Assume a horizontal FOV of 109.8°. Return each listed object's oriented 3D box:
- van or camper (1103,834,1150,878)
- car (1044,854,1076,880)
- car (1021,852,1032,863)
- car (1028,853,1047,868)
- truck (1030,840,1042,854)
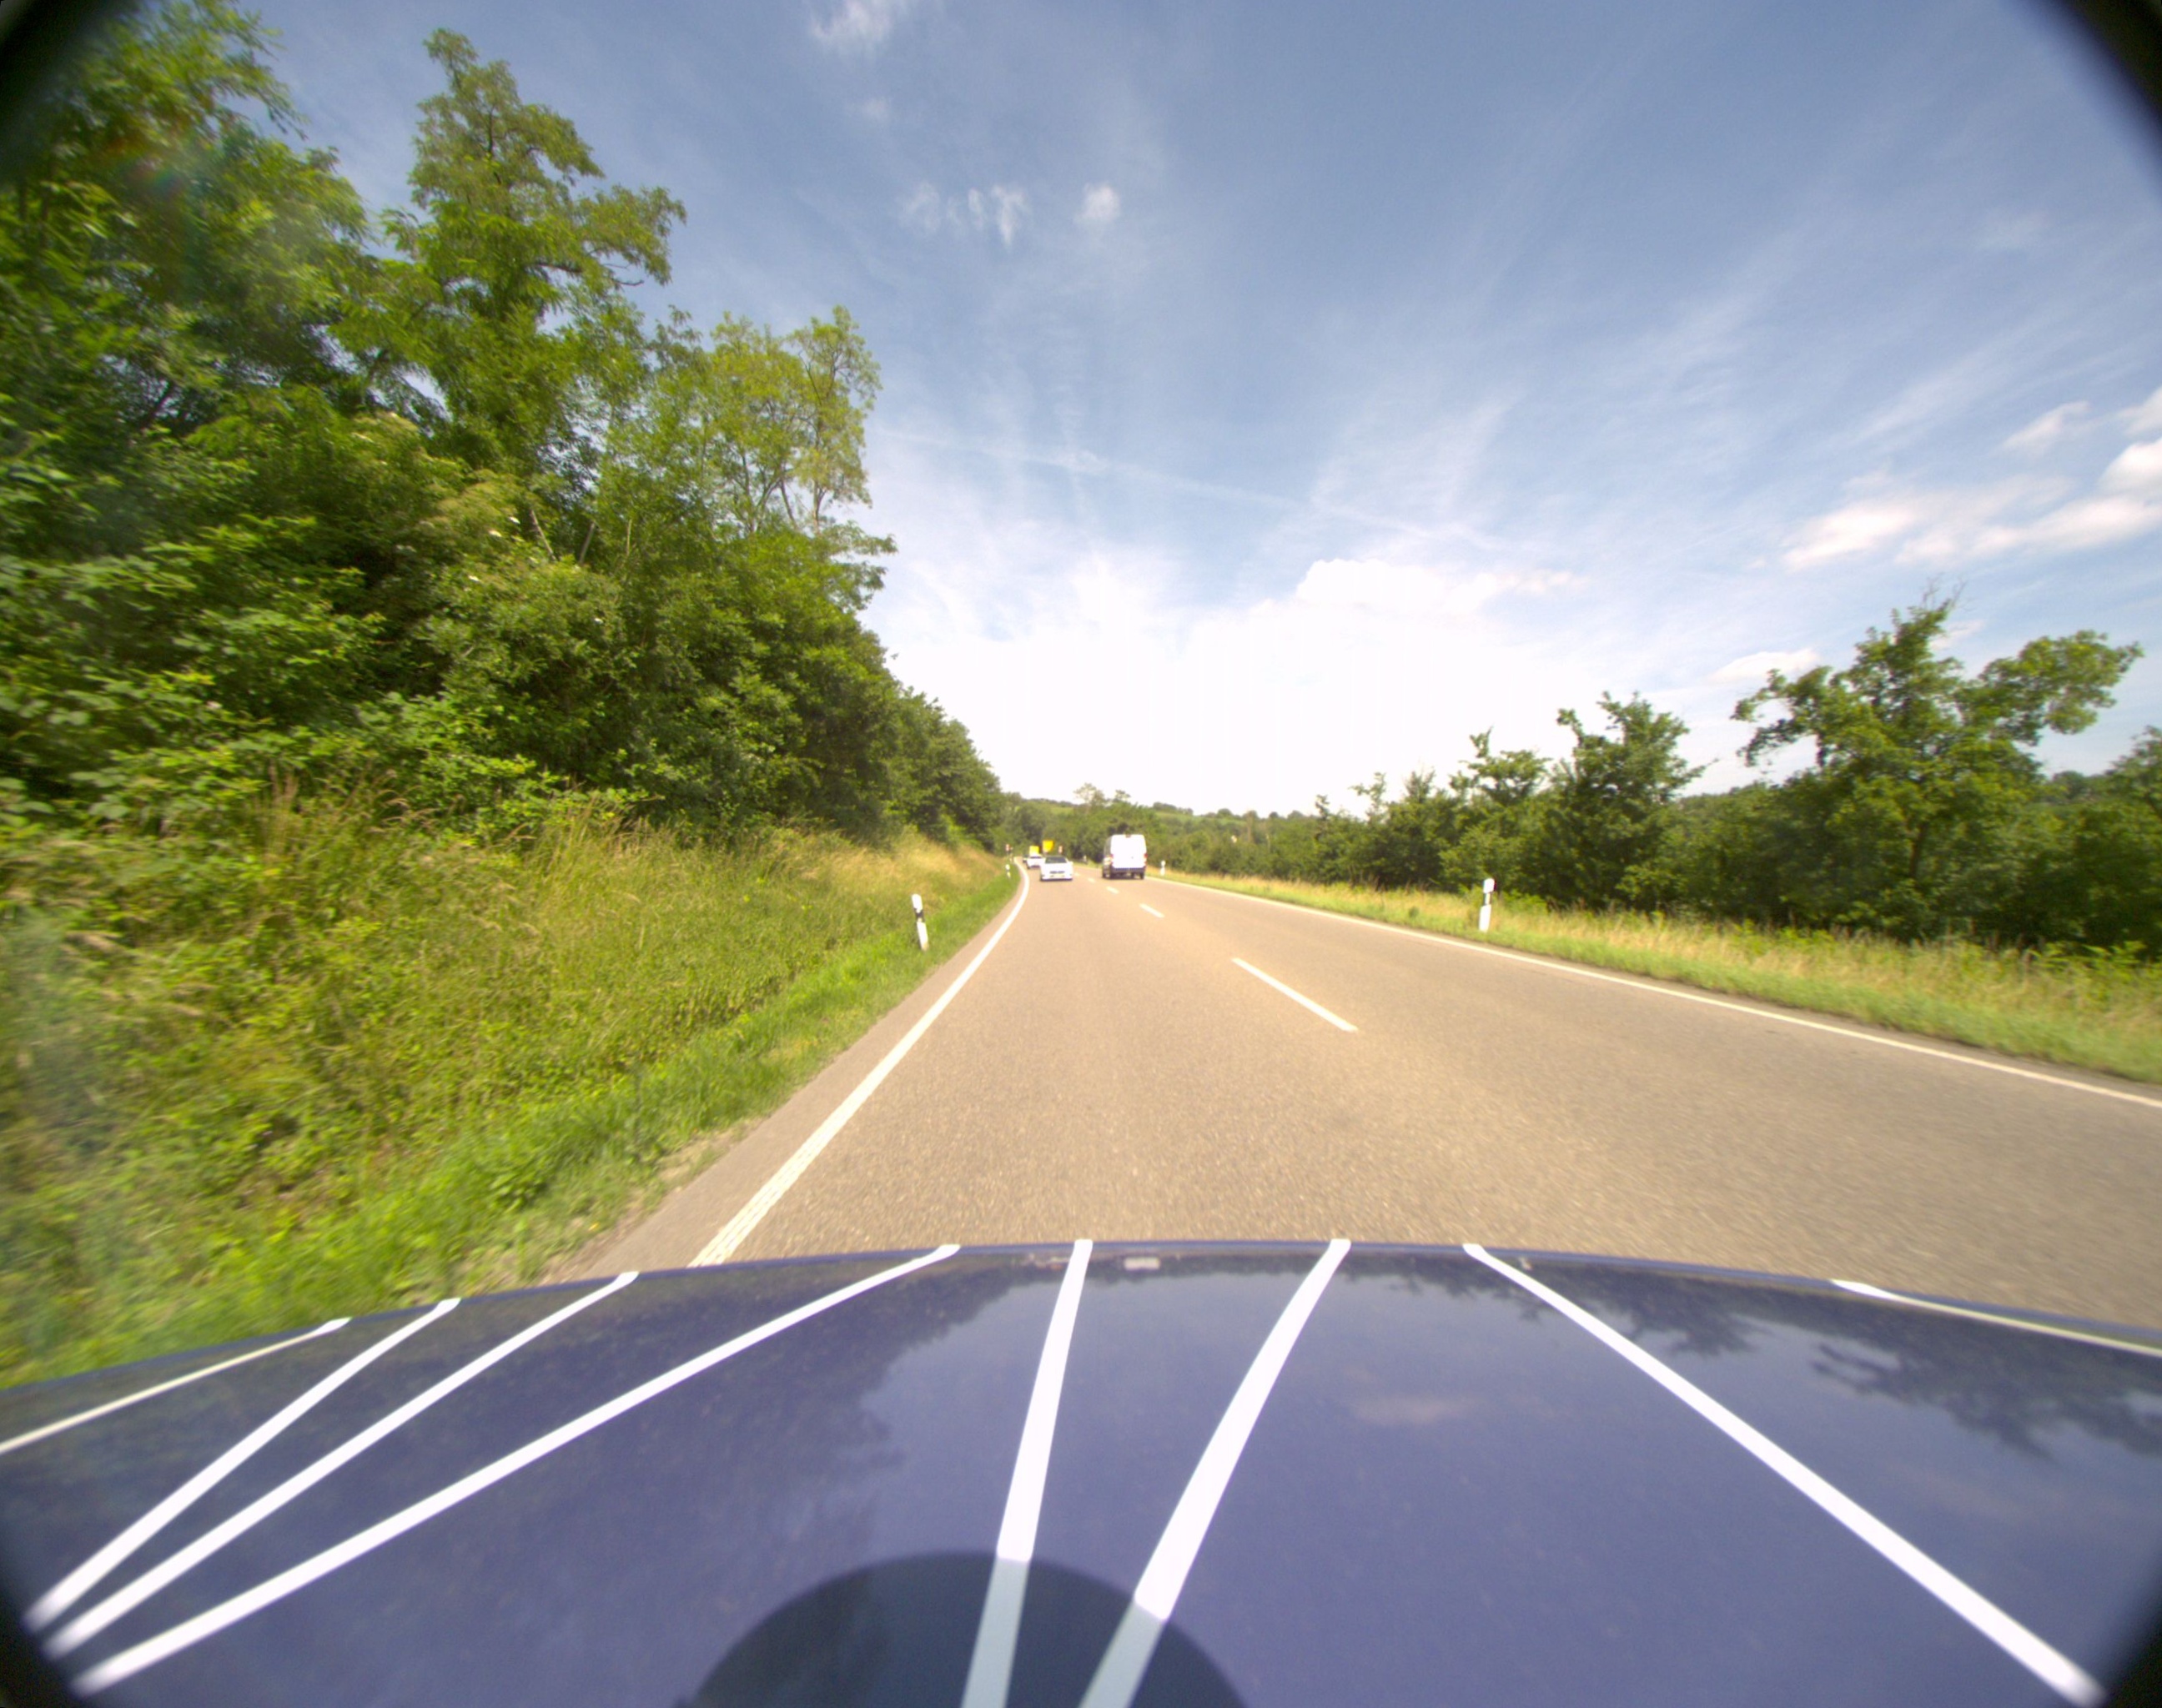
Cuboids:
[{"bbox_3d":[2.695,0.094,46.591,2.214,2.513,6.131,-1,1,-3],"label":"van or camper"},{"bbox_3d":[-1.280,0.756,45.327,1.773,1.437,3.999,-2,0,-2],"label":"car"},{"bbox_3d":[-8.703,0.519,121.307,1.666,1.641,3.998,-1,0,-5],"label":"car"},{"bbox_3d":[-4.455,0.627,78.579,1.866,1.480,3.999,-1,0,-3],"label":"car"},{"bbox_3d":[-14.342,-2.243,241.275,3.340,4.503,8.573,2,0,-5],"label":"truck"}]
